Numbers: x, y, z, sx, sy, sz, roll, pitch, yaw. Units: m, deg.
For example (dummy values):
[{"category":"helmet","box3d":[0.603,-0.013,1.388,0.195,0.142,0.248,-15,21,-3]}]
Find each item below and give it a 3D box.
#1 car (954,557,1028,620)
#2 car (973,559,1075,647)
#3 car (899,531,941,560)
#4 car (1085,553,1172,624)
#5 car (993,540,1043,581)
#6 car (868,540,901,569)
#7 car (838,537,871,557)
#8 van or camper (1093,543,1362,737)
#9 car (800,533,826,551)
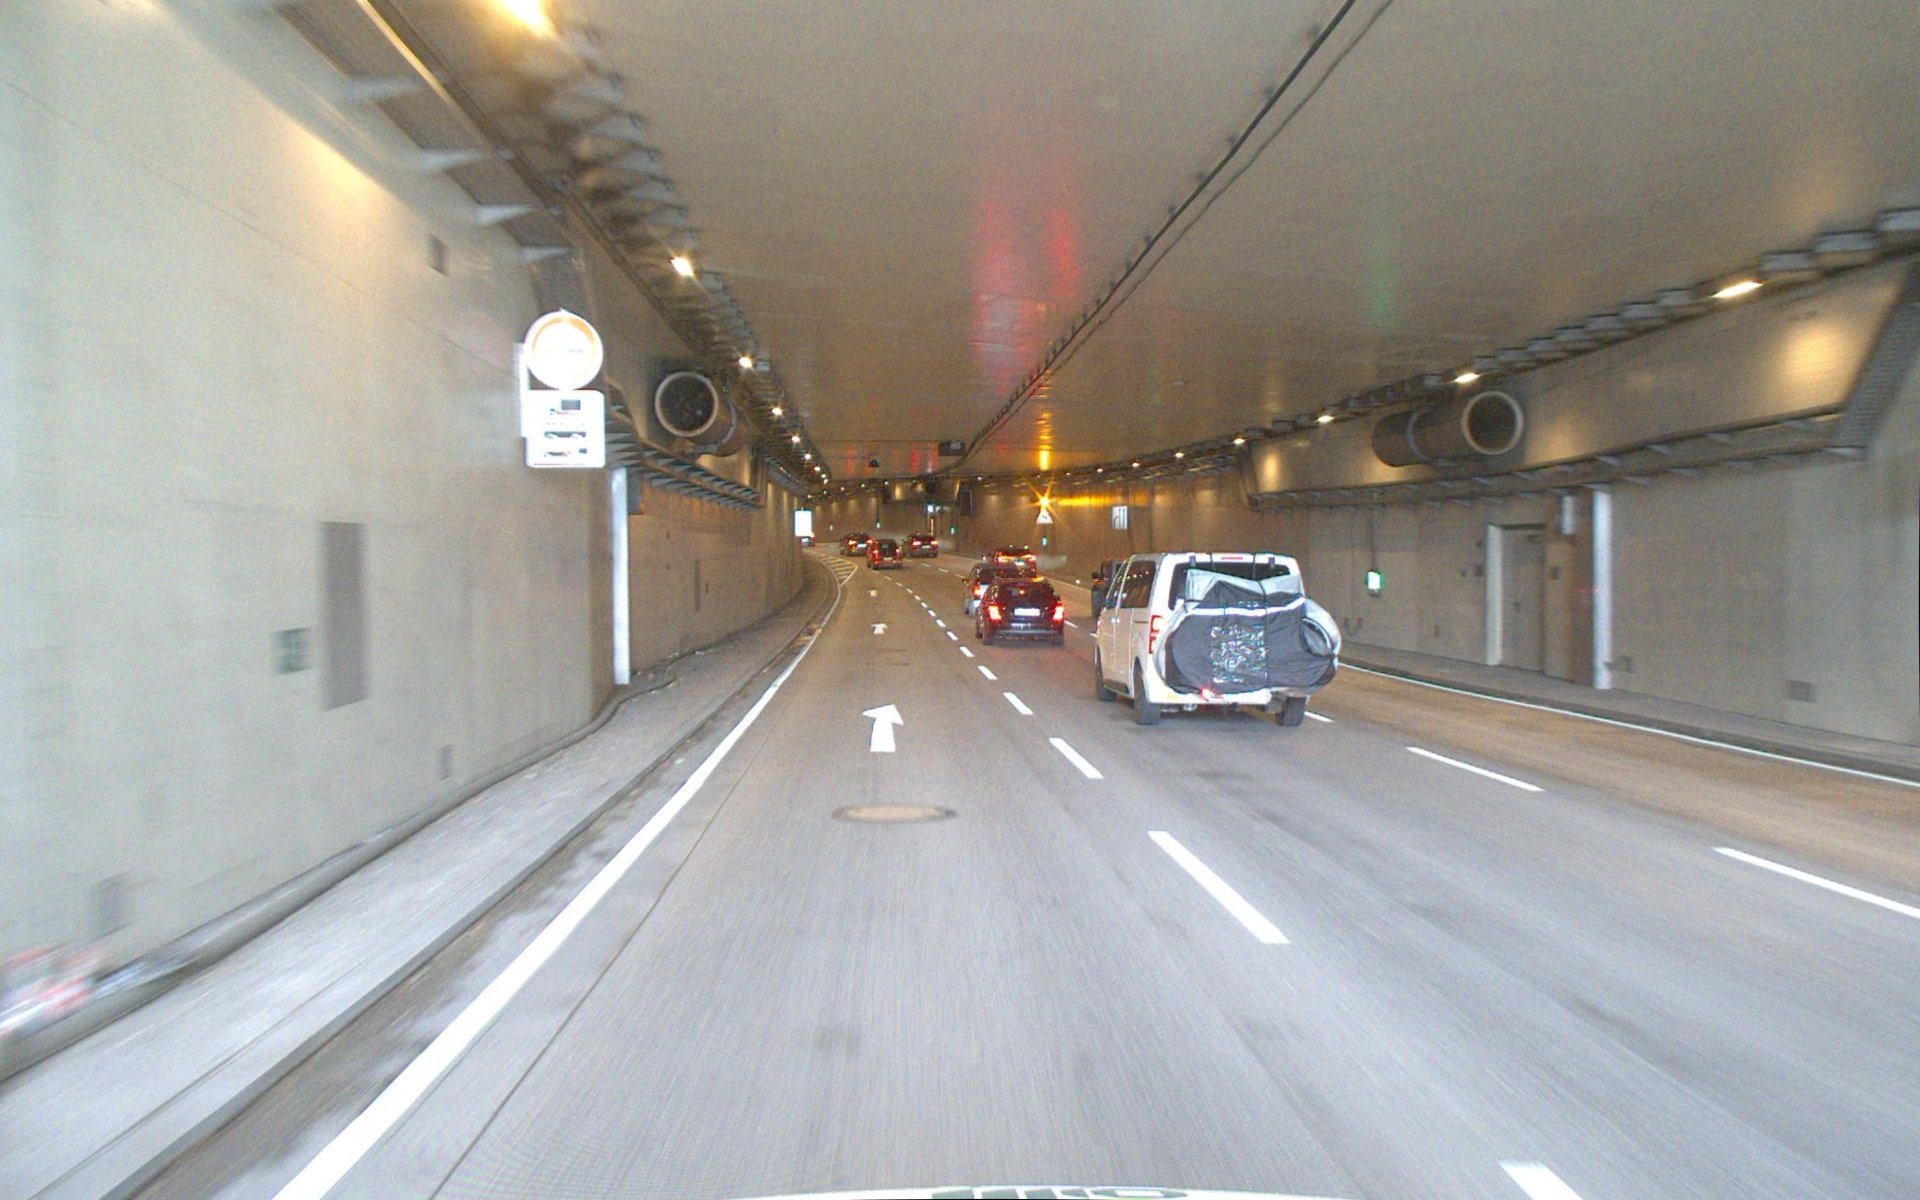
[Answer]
[{"category":"car","box3d":[0.860,-0.370,48.704,1.783,1.607,3.998,4,2,-4]},{"category":"car","box3d":[1.331,0.016,36.005,1.783,1.713,3.998,1,2,-4]},{"category":"car","box3d":[-2.501,-3.367,102.317,1.954,1.705,4.497,0,1,-11]},{"category":"car","box3d":[4.700,-0.367,46.693,1.783,1.779,3.999,4,2,-3]},{"category":"car","box3d":[2.585,-1.773,74.186,1.628,1.661,3.563,4,2,-6]},{"category":"car","box3d":[-4.105,-2.473,89.861,1.628,1.514,3.563,0,1,-5]},{"category":"car","box3d":[-6.806,-3.395,106.289,1.635,1.268,3.556,0,1,-12]},{"category":"van or camper","box3d":[2.875,0.371,19.161,1.954,1.877,5.505,1,1,-3]},{"category":"car","box3d":[-11.560,-4.528,130.036,1.483,1.268,3.554,-3,2,-14]}]
